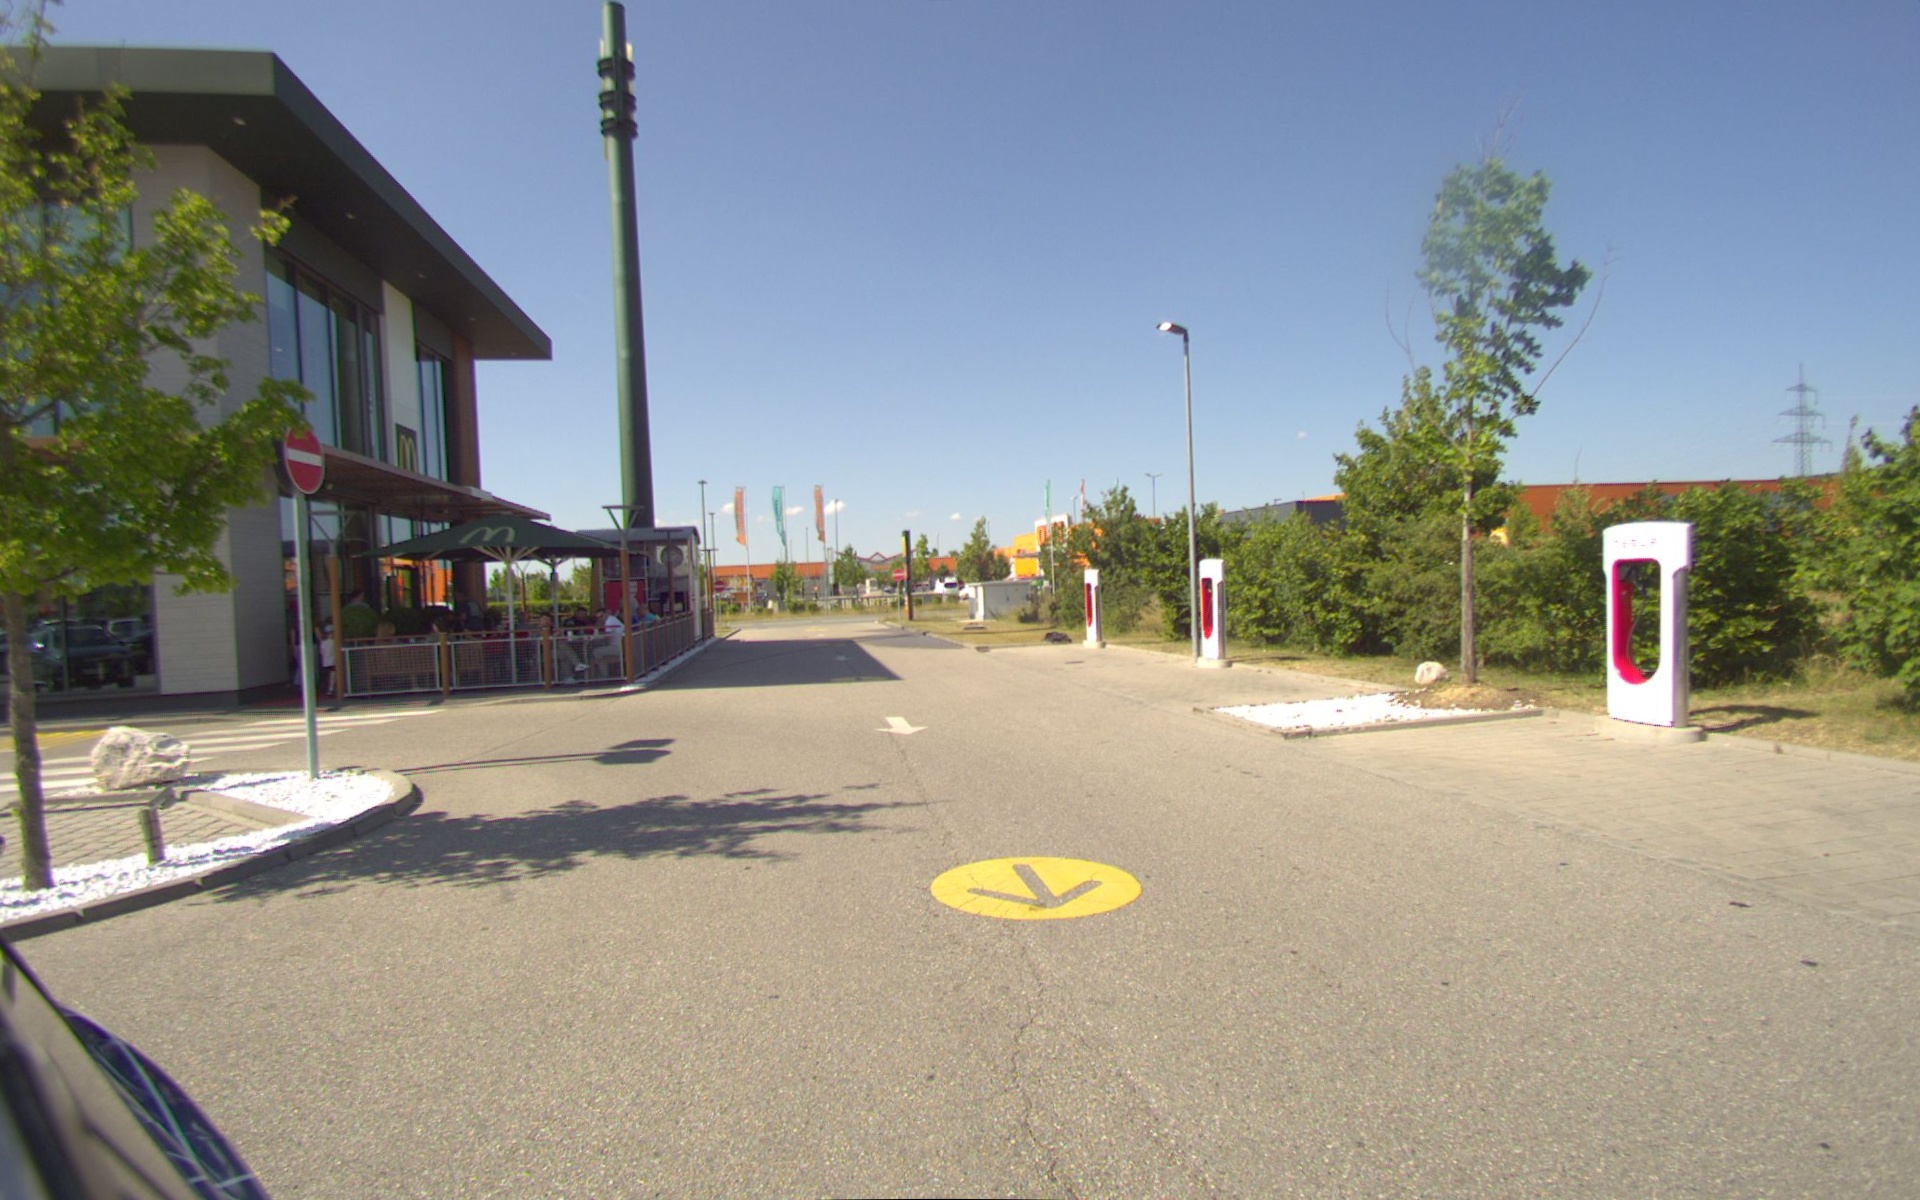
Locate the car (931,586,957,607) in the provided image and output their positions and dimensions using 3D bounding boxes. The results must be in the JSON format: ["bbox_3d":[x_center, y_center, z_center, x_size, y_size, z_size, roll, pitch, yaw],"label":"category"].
[{"bbox_3d":[-1.659,-0.381,103.292,1.968,2.029,4.008,-2,0,-10],"label":"car"}]

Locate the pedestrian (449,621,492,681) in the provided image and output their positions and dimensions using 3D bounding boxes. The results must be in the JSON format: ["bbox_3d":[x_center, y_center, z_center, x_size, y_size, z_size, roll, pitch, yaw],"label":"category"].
[{"bbox_3d":[-9.648,0.999,19.957,0.564,1.109,0.658,-3,0,-11],"label":"pedestrian"}]

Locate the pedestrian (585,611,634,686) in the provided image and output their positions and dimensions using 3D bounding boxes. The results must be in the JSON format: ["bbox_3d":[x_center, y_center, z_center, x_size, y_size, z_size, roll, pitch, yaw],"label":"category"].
[{"bbox_3d":[-6.205,0.847,17.924,0.717,1.267,0.575,-3,0,-14],"label":"pedestrian"}]

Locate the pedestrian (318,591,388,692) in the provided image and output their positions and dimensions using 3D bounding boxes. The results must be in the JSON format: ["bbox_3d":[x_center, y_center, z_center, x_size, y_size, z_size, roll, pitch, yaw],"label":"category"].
[{"bbox_3d":[-11.248,0.756,18.792,0.881,1.781,0.806,-3,0,-18],"label":"pedestrian"}]

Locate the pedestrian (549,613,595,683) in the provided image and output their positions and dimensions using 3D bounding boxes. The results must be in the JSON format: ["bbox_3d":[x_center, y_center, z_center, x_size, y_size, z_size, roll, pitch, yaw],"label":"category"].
[{"bbox_3d":[-7.397,0.897,19.303,0.704,1.267,0.525,-3,0,-13],"label":"pedestrian"}]

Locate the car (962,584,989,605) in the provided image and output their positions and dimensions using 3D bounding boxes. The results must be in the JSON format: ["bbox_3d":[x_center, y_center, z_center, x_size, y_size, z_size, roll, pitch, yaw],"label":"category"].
[{"bbox_3d":[1.545,-0.508,104.221,1.968,2.029,4.008,-2,0,-10],"label":"car"}]

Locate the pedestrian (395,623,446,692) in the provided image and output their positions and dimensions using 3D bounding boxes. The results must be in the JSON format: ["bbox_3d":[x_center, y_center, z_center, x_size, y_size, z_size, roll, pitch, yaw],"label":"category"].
[{"bbox_3d":[-9.334,0.989,17.521,0.624,1.132,0.525,-3,0,-13],"label":"pedestrian"}]

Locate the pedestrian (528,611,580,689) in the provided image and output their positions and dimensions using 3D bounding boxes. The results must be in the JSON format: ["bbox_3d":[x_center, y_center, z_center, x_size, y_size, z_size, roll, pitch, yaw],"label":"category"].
[{"bbox_3d":[-6.973,0.847,17.414,0.704,1.267,0.525,-3,0,-13],"label":"pedestrian"}]

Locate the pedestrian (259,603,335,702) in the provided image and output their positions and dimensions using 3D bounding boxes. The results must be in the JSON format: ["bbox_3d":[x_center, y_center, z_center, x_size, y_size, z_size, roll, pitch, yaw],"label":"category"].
[{"bbox_3d":[-11.192,0.875,17.097,0.731,1.595,0.729,-3,0,0],"label":"pedestrian"}]

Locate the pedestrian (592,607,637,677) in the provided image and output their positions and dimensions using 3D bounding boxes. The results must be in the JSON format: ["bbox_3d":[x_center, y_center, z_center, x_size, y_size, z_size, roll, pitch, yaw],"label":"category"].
[{"bbox_3d":[-6.618,0.791,19.398,0.717,1.267,0.575,-3,0,-14],"label":"pedestrian"}]

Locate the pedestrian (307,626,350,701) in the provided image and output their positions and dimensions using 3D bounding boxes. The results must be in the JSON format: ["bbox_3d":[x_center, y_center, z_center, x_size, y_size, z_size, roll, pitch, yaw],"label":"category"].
[{"bbox_3d":[-10.499,1.044,16.832,0.441,1.195,0.493,-3,0,-15],"label":"pedestrian"}]

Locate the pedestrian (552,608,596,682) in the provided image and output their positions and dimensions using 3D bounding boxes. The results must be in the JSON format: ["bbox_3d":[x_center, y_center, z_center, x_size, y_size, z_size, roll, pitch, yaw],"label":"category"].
[{"bbox_3d":[-6.971,0.803,18.316,0.624,1.267,0.525,-3,0,-13],"label":"pedestrian"}]

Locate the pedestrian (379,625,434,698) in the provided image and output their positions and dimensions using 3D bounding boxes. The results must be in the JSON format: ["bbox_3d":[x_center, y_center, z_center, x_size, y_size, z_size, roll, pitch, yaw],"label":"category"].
[{"bbox_3d":[-9.199,1.012,16.835,0.624,1.132,0.525,-3,0,-13],"label":"pedestrian"}]
